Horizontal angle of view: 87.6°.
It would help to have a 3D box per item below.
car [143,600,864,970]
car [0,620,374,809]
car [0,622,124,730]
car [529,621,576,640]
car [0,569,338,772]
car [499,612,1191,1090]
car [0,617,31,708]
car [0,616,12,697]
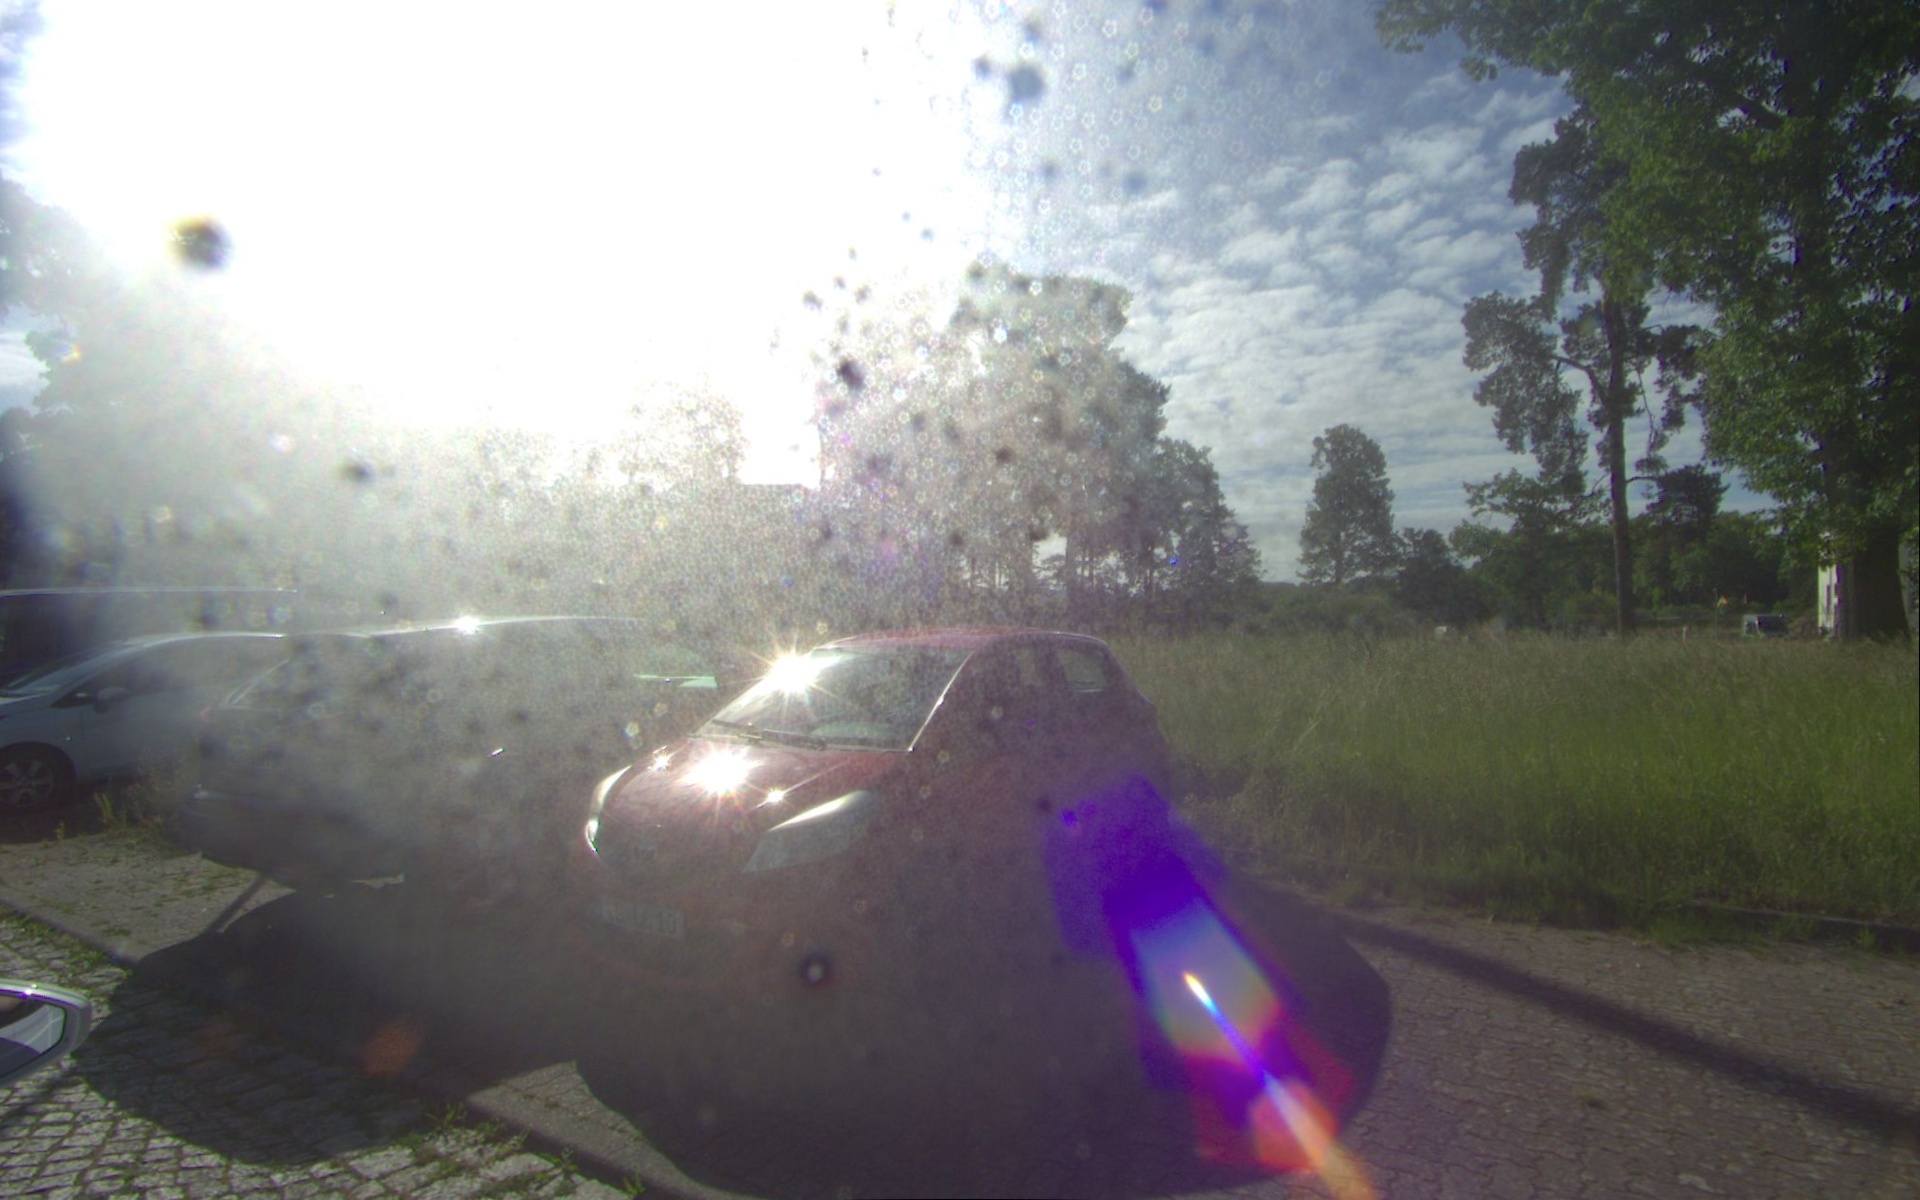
[{"bbox_3d":[-2.551,0.850,6.633,1.760,1.632,4.101,0,-1,30],"label":"car"},{"bbox_3d":[-7.993,0.979,9.690,1.586,1.486,3.714,0,0,30],"label":"car"},{"bbox_3d":[-14.364,1.075,14.134,1.611,1.511,3.638,0,-1,32],"label":"car"},{"bbox_3d":[-37.016,2.748,91.065,1.743,1.692,3.627,0,-1,34],"label":"car"},{"bbox_3d":[-10.041,0.706,11.299,1.971,2.041,4.743,0,1,32],"label":"car"},{"bbox_3d":[-0.216,0.853,5.368,1.679,1.559,3.817,0,0,32],"label":"car"},{"bbox_3d":[-17.012,1.023,15.348,1.733,1.470,3.771,0,0,33],"label":"car"},{"bbox_3d":[-19.131,1.060,17.330,1.643,1.474,3.655,0,0,32],"label":"car"}]
